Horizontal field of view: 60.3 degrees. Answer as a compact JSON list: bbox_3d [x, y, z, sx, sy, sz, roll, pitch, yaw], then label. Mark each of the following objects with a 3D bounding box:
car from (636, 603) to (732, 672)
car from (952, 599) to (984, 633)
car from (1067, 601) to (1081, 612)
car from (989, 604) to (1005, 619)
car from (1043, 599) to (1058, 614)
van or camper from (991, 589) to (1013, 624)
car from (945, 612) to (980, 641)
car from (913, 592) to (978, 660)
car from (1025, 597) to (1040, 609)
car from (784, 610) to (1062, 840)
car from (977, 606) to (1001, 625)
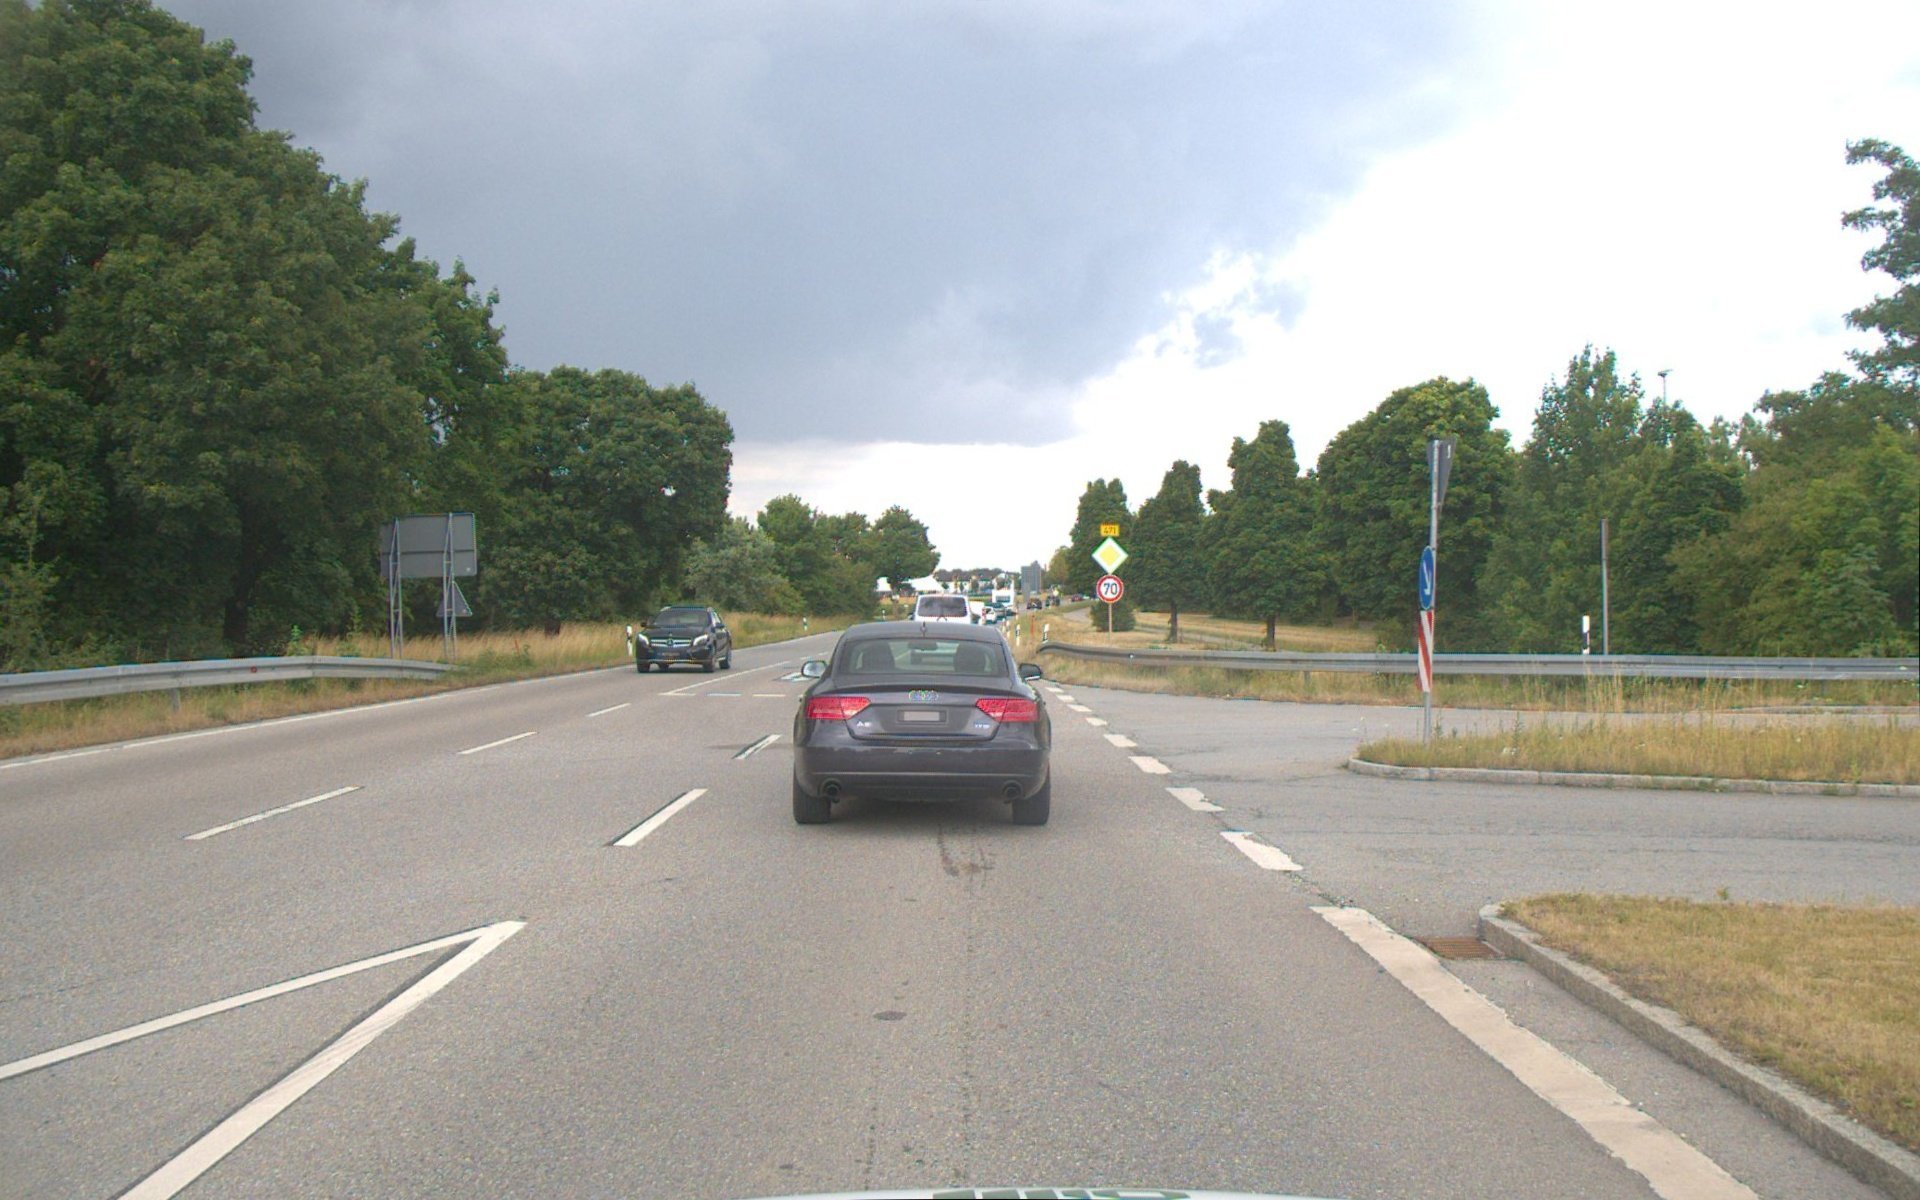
[{"bbox_3d":[-6.524,0.861,39.453,1.676,1.549,3.999,0,0,-1],"label":"car"},{"bbox_3d":[0.542,1.001,105.790,1.952,2.125,4.001,0,0,2],"label":"car"},{"bbox_3d":[16.705,0.905,242.186,1.784,1.624,4.000,0,0,0],"label":"car"},{"bbox_3d":[3.458,1.022,153.530,1.231,1.377,3.468,0,0,5],"label":"car"},{"bbox_3d":[13.044,0.967,238.874,1.953,2.049,3.999,0,0,-1],"label":"car"},{"bbox_3d":[4.338,0.649,171.975,2.292,3.542,5.719,0,0,1],"label":"van or camper"},{"bbox_3d":[0.143,1.424,89.823,1.758,1.490,3.249,0,0,3],"label":"car"},{"bbox_3d":[-0.445,0.726,48.956,1.801,1.915,3.999,1,0,-1],"label":"car"},{"bbox_3d":[9.333,0.417,212.719,1.683,1.477,4.000,1,0,0],"label":"car"},{"bbox_3d":[-0.261,0.809,12.498,1.746,1.400,3.999,1,0,-1],"label":"car"},{"bbox_3d":[2.454,1.267,138.357,1.699,1.541,3.749,0,0,5],"label":"car"}]
